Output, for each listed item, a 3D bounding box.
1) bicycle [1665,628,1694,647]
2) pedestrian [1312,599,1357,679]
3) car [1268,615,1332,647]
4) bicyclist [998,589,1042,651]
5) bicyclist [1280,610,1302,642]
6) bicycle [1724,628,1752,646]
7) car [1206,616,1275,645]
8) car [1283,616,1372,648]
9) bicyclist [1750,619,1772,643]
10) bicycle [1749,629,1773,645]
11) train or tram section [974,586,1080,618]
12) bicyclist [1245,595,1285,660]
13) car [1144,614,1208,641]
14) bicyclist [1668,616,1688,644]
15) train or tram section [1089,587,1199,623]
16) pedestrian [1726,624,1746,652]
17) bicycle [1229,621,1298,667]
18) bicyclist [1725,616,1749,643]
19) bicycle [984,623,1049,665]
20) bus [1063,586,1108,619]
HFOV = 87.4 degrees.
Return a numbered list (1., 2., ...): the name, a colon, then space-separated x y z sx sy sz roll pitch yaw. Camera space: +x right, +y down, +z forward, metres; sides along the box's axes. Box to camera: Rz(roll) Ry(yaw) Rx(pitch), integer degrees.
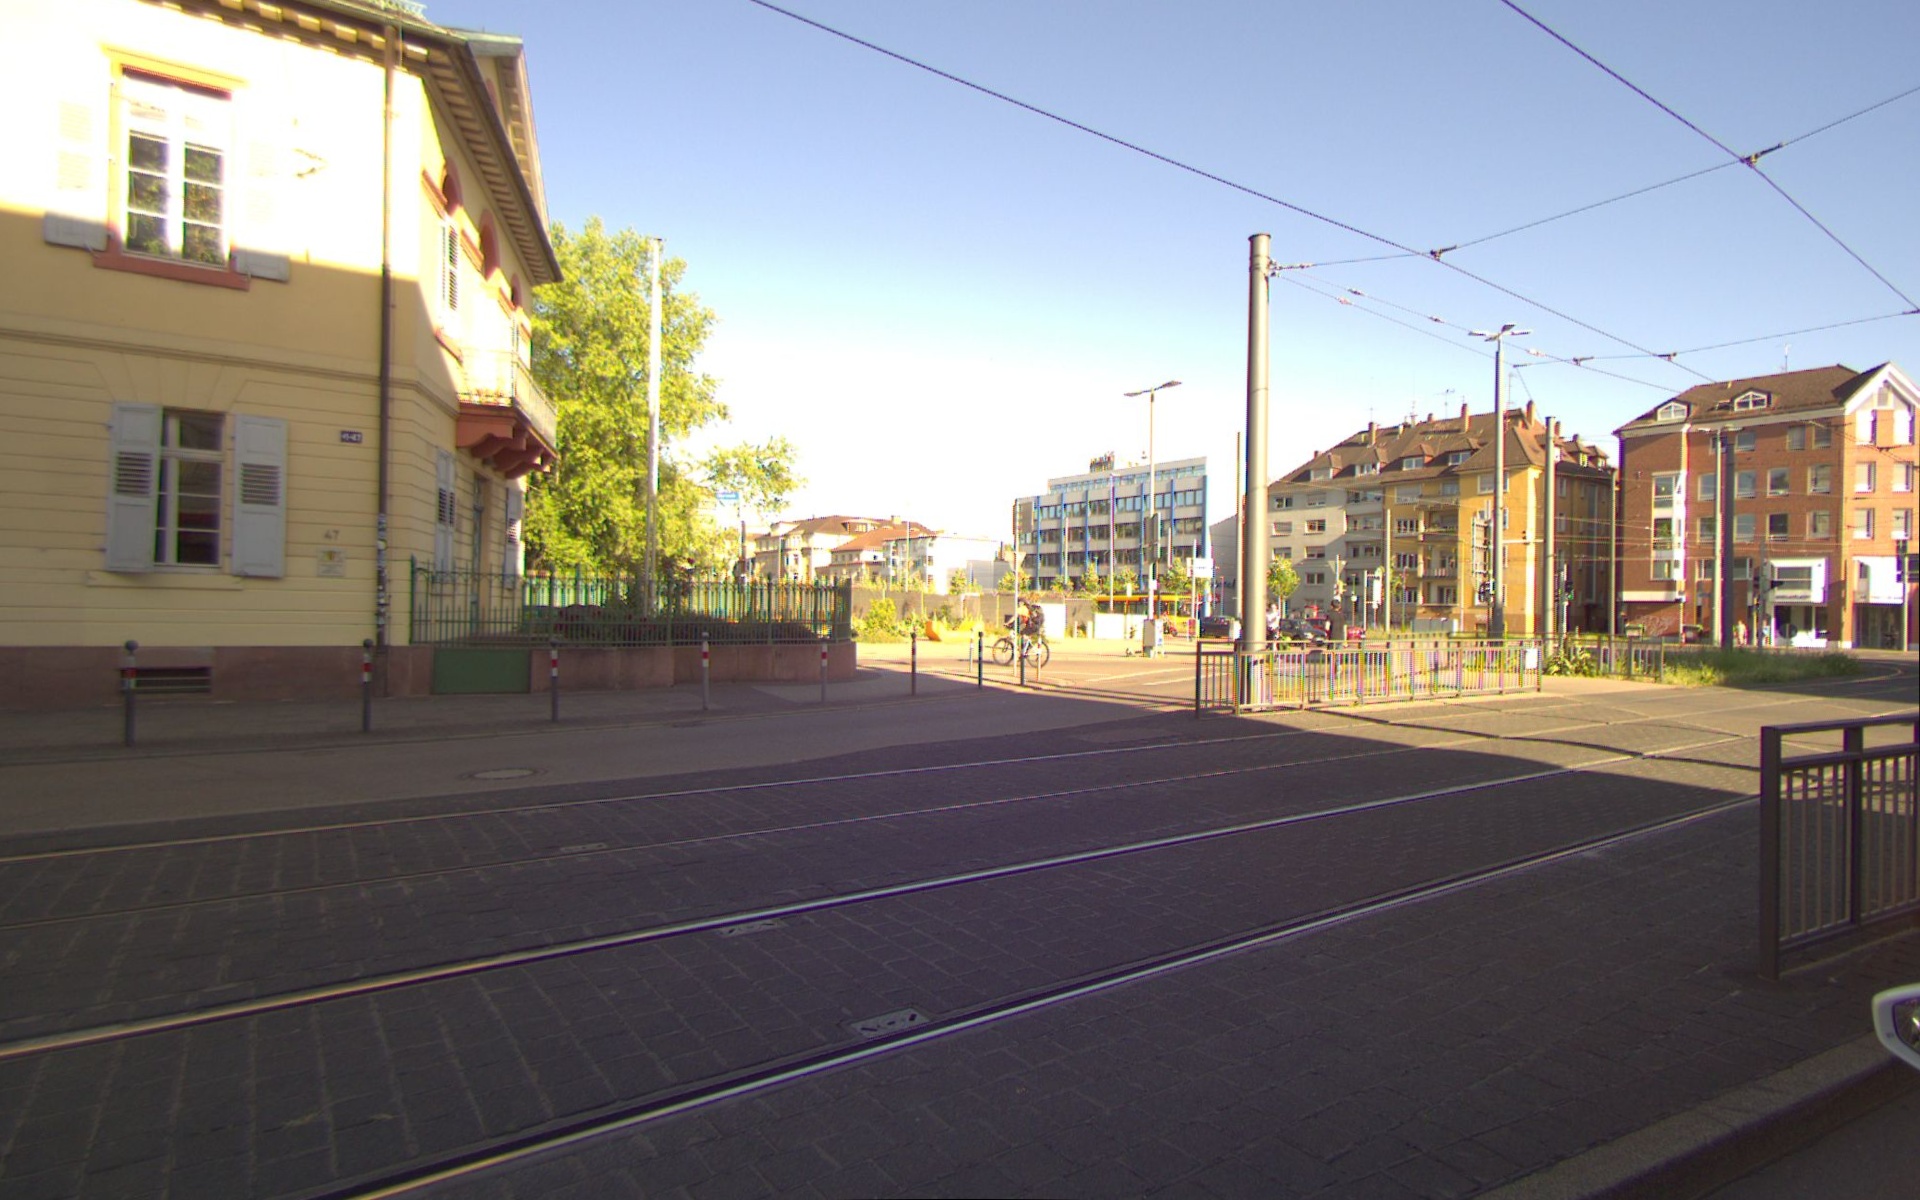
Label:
1. bicycle: 39.694 2.060 55.419 2.220 0.984 0.444 2 0 -31
2. pedestrian: 8.126 0.839 21.807 0.758 1.703 0.593 2 0 8
3. car: 18.420 1.665 54.590 1.615 1.546 3.859 2 0 -9
4. bicyclist: 1.523 0.500 25.501 1.023 1.542 0.392 2 0 21
5. bicyclist: 19.470 1.537 59.072 0.785 1.832 0.892 2 0 -42
6. bicycle: 45.629 2.167 58.905 2.220 0.984 0.521 2 0 -31
7. car: 17.999 1.939 64.574 1.762 1.694 3.955 2 0 -39
8. car: 21.865 1.882 59.892 1.984 1.723 4.545 2 0 -41
9. bicyclist: 50.291 1.970 63.085 0.958 1.490 0.702 1 0 -22
10. bicycle: 50.349 2.334 63.107 1.669 0.994 0.403 2 0 -22
11. train or tram section: 6.961 0.136 107.480 2.712 3.172 13.555 2 0 -40
12. bicyclist: 8.539 0.760 28.116 0.740 1.783 0.756 2 0 -14
13. car: 14.740 1.868 68.565 1.895 1.708 3.916 2 0 -41
14. bicyclist: 39.570 1.639 55.357 0.688 1.523 0.630 2 0 -30
15. train or tram section: 17.248 0.384 95.205 2.782 3.172 11.138 2 0 -39
16. pedestrian: 52.095 2.520 67.434 0.737 1.845 0.781 2 0 -28
17. bicycle: 8.498 1.241 28.117 1.824 1.238 0.484 2 0 -15
18. bicyclist: 45.589 1.717 58.907 0.688 1.523 0.894 2 0 -30
19. bicycle: 1.429 1.113 25.536 1.571 1.007 0.403 2 0 20
20. bus: 12.562 0.272 100.952 2.751 3.172 3.484 2 0 -42
